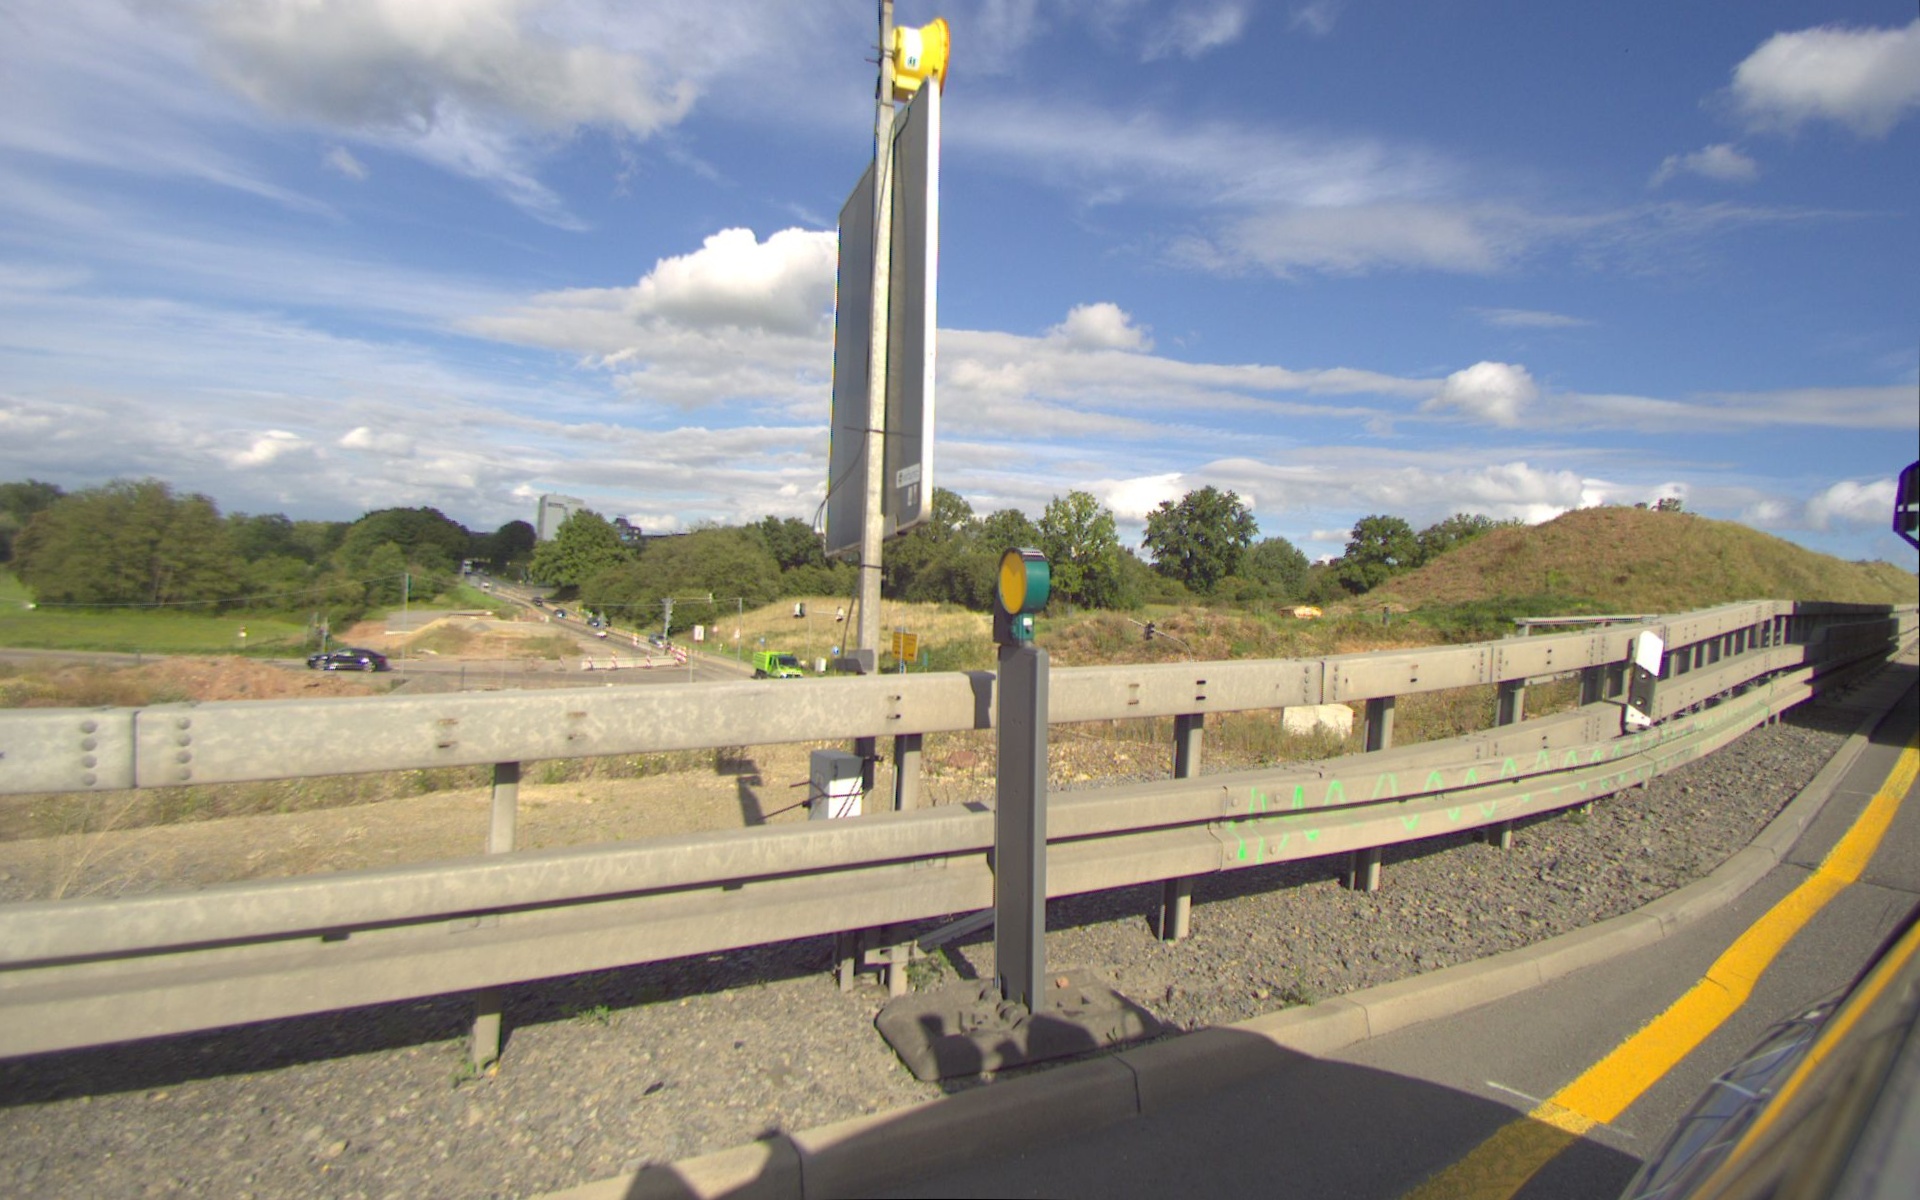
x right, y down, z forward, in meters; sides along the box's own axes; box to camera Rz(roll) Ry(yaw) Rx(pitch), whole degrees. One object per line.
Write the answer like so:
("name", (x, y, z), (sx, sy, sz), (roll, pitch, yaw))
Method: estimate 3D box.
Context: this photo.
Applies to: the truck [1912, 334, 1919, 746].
("truck", (13.627, -0.605, 12.134), (10.146, 3.895, 2.659), (-1, 2, -44))
